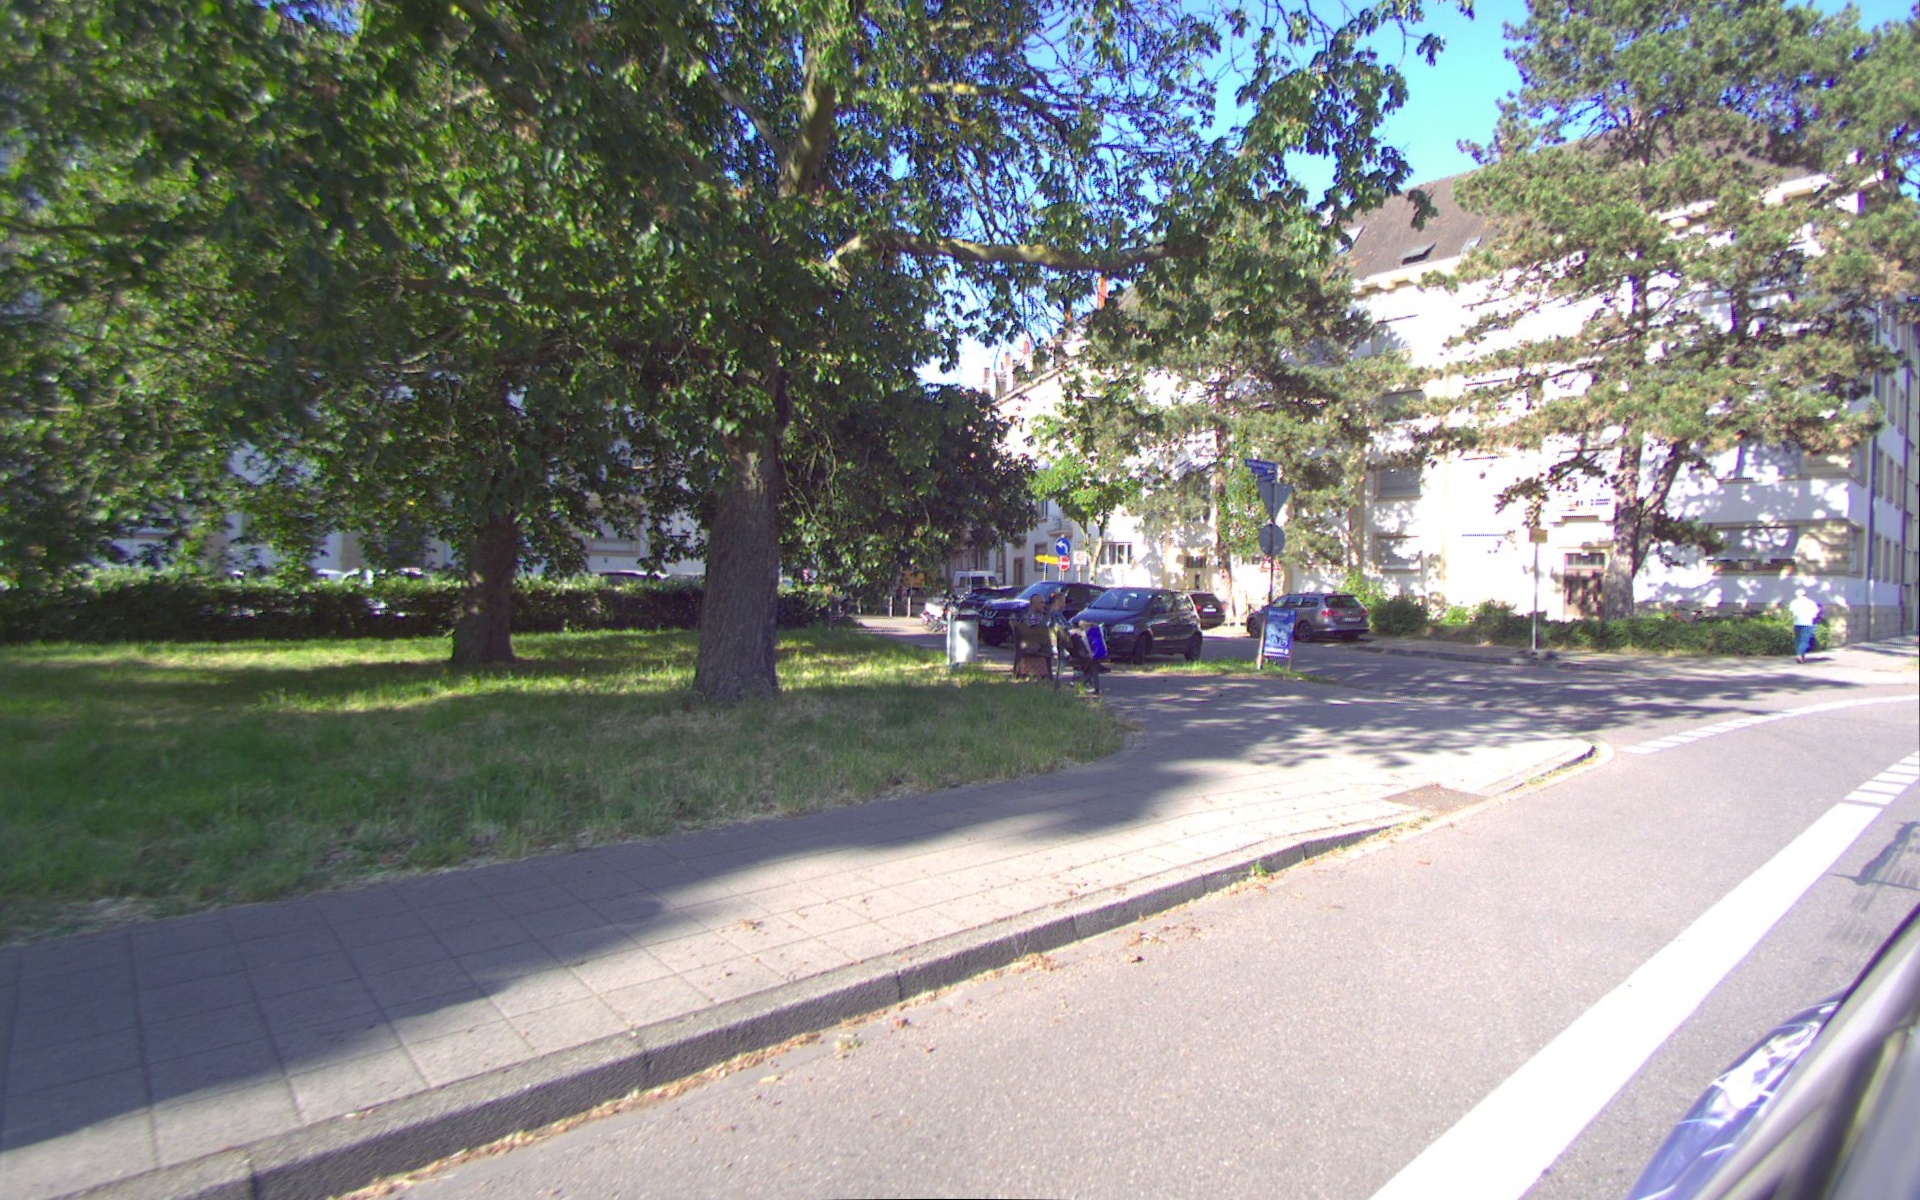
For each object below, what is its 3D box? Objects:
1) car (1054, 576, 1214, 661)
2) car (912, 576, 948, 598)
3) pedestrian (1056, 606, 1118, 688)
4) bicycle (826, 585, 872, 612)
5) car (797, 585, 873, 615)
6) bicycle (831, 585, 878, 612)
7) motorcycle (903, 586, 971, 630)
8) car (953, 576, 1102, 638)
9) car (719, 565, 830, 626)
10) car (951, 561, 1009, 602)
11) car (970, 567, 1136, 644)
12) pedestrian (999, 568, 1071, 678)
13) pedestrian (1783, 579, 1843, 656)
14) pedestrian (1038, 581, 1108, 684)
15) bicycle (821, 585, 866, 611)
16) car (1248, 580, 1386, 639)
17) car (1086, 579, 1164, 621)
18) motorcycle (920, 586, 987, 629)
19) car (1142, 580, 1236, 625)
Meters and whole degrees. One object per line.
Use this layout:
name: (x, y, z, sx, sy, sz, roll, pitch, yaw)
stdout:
car: (3.605, 0.312, 20.501, 1.632, 1.513, 3.757, 3, 2, 37)
car: (-2.350, -0.984, 78.846, 1.762, 1.632, 4.007, 0, -1, -18)
pedestrian: (1.503, 0.559, 12.034, 0.610, 0.946, 0.405, 2, -2, -14)
bicycle: (-5.124, -0.059, 46.666, 2.019, 1.204, 0.598, 0, -1, -25)
car: (-6.811, 0.020, 55.128, 3.916, 1.572, 1.821, -1, -1, -14)
bicycle: (-4.787, -0.089, 45.892, 2.019, 1.204, 0.598, 0, -1, -25)
motorcycle: (-0.662, 0.219, 28.344, 1.771, 1.085, 0.705, 5, 2, 33)
car: (1.841, 0.149, 26.645, 1.636, 1.458, 4.175, 3, 2, 43)
car: (-5.181, -0.168, 28.014, 1.547, 1.387, 3.357, 0, 5, -39)
car: (1.214, -1.132, 65.602, 2.081, 2.474, 5.328, 0, -1, -18)
car: (2.156, 0.105, 22.988, 3.738, 1.592, 1.456, 0, 2, -38)
pedestrian: (0.966, 0.295, 13.181, 0.739, 1.391, 0.688, 0, -1, -14)
pedestrian: (19.864, 0.396, 23.577, 0.711, 1.743, 0.883, 1, 1, -35)
pedestrian: (1.395, 0.392, 12.505, 0.745, 1.242, 0.405, 0, -1, -14)
bicycle: (-5.441, -0.080, 47.348, 2.019, 1.204, 0.598, 0, -1, -25)
car: (10.792, 0.219, 30.967, 1.733, 1.519, 4.316, -2, 3, -17)
car: (7.118, -0.013, 44.022, 1.732, 1.733, 3.920, 1, 0, -17)
motorcycle: (-0.185, 0.213, 29.010, 1.771, 1.085, 0.705, 5, 2, 33)
car: (8.682, 0.052, 38.642, 1.732, 1.487, 3.922, 1, 2, -17)
